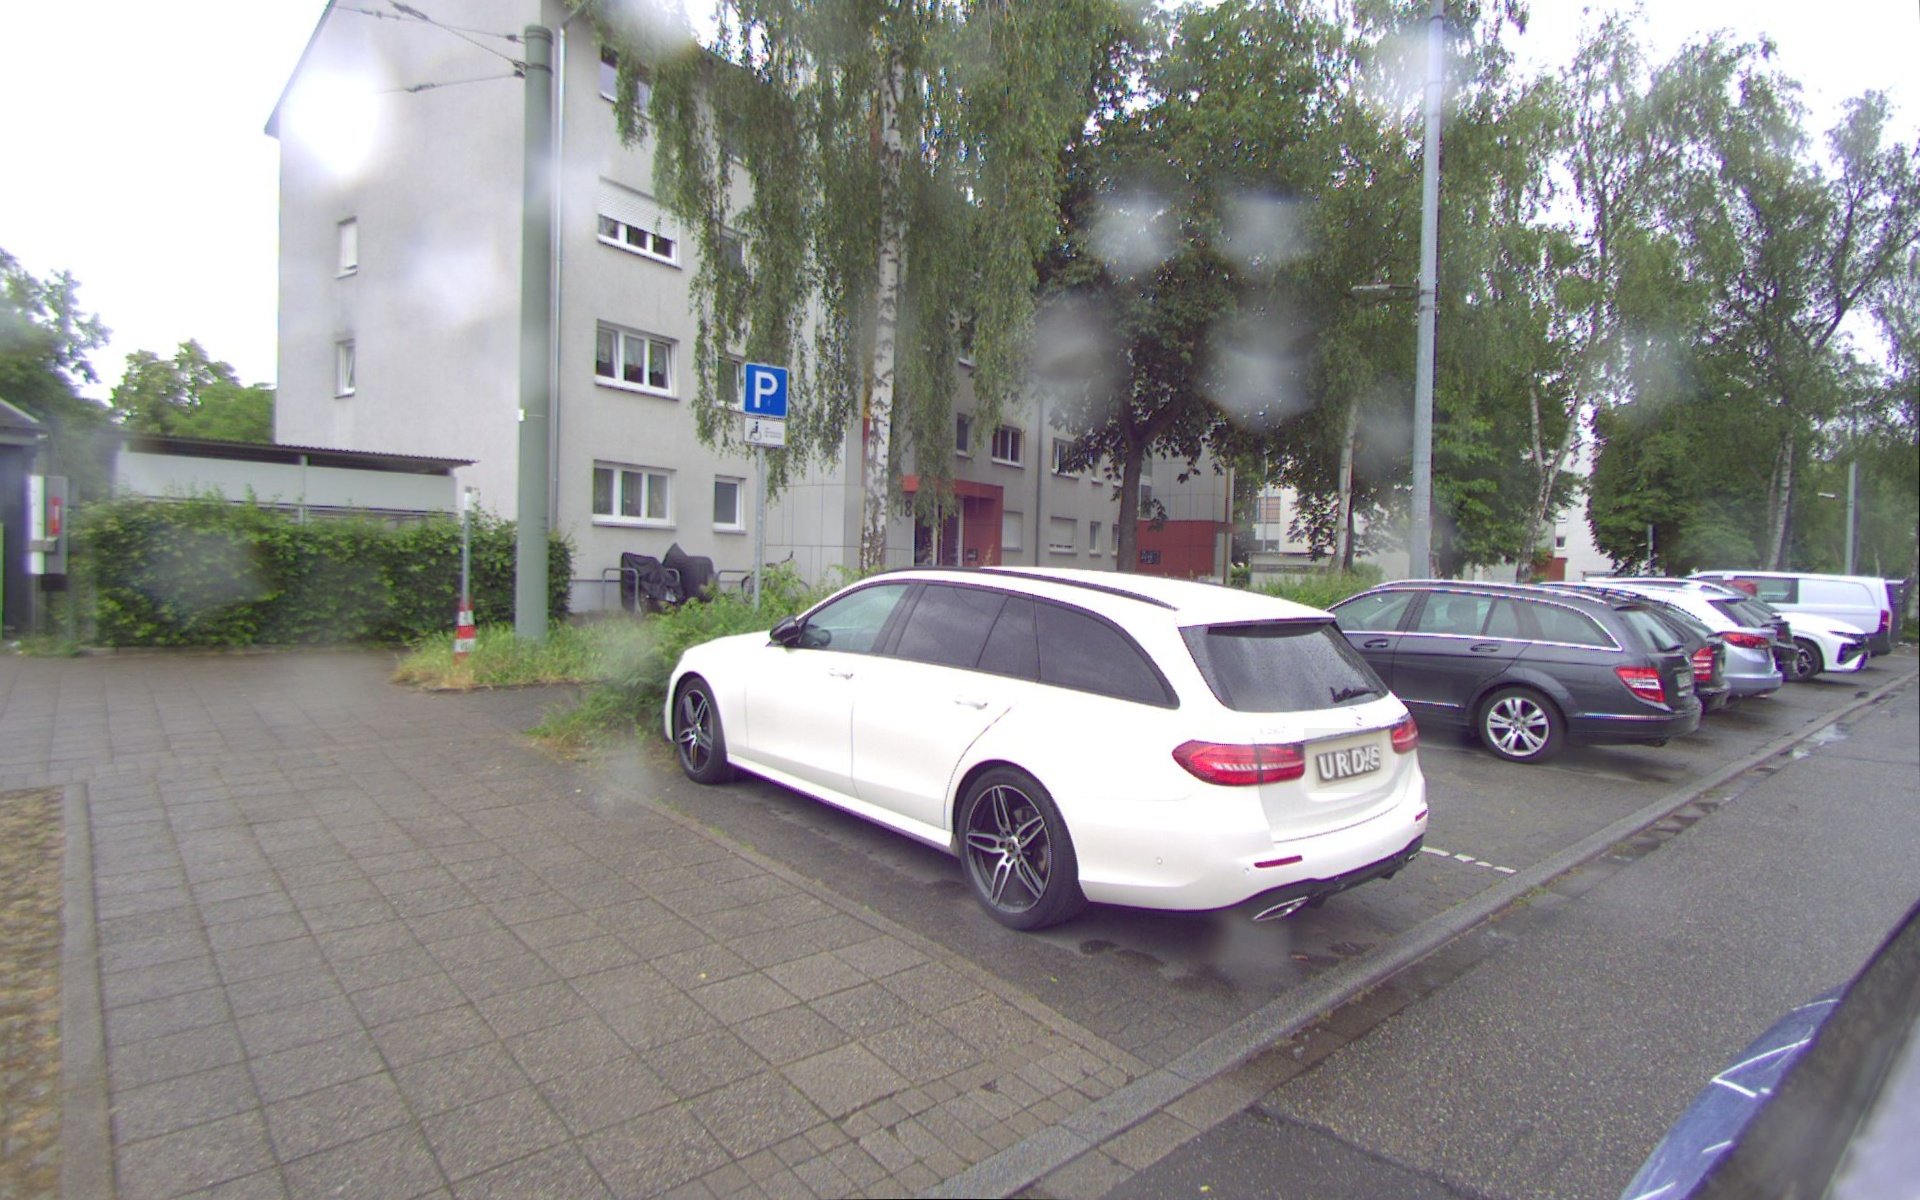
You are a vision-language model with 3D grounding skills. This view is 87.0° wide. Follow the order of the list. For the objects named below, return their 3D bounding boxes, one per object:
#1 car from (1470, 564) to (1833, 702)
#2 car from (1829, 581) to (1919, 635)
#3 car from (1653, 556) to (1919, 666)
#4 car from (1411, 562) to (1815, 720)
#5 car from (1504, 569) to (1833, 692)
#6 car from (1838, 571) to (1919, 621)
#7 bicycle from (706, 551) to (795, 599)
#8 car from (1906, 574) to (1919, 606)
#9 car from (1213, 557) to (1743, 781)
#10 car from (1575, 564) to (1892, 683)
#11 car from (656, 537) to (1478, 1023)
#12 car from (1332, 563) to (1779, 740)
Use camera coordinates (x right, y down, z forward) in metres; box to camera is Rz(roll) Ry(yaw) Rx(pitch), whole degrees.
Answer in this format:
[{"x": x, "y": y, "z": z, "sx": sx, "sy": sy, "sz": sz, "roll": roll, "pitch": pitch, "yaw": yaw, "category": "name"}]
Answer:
[{"x": 9.872, "y": 0.349, "z": 14.692, "sx": 1.653, "sy": 1.514, "sz": 4.044, "roll": -1, "pitch": 5, "yaw": -43, "category": "car"}, {"x": 34.454, "y": 0.272, "z": 36.822, "sx": 1.866, "sy": 1.937, "sz": 3.998, "roll": -1, "pitch": 0, "yaw": -36, "category": "car"}, {"x": 17.551, "y": 0.140, "z": 21.663, "sx": 4.172, "sy": 1.888, "sz": 1.654, "roll": 7, "pitch": 5, "yaw": 43, "category": "car"}, {"x": 8.231, "y": 0.378, "z": 13.043, "sx": 1.653, "sy": 1.514, "sz": 4.044, "roll": -1, "pitch": 5, "yaw": -43, "category": "car"}, {"x": 11.314, "y": 0.379, "z": 16.373, "sx": 1.653, "sy": 1.514, "sz": 4.044, "roll": -1, "pitch": 5, "yaw": -43, "category": "car"}, {"x": 37.788, "y": -0.185, "z": 40.277, "sx": 1.866, "sy": 1.937, "sz": 3.998, "roll": -1, "pitch": 0, "yaw": -36, "category": "car"}, {"x": -4.519, "y": -0.527, "z": 21.970, "sx": 0.701, "sy": 1.005, "sz": 1.918, "roll": 0, "pitch": 0, "yaw": 37, "category": "bicycle"}, {"x": 53.224, "y": -0.548, "z": 53.811, "sx": 1.866, "sy": 1.701, "sz": 3.998, "roll": -1, "pitch": 1, "yaw": -36, "category": "car"}, {"x": 4.609, "y": 0.435, "z": 9.476, "sx": 1.653, "sy": 1.456, "sz": 4.044, "roll": -1, "pitch": 5, "yaw": -43, "category": "car"}, {"x": 13.703, "y": 0.313, "z": 18.165, "sx": 1.651, "sy": 1.637, "sz": 4.181, "roll": 0, "pitch": 5, "yaw": -40, "category": "car"}, {"x": 0.086, "y": 0.478, "z": 5.604, "sx": 1.651, "sy": 1.456, "sz": 4.623, "roll": -1, "pitch": 5, "yaw": -41, "category": "car"}, {"x": 6.589, "y": 0.422, "z": 11.540, "sx": 1.653, "sy": 1.456, "sz": 4.044, "roll": -1, "pitch": 5, "yaw": -43, "category": "car"}]
